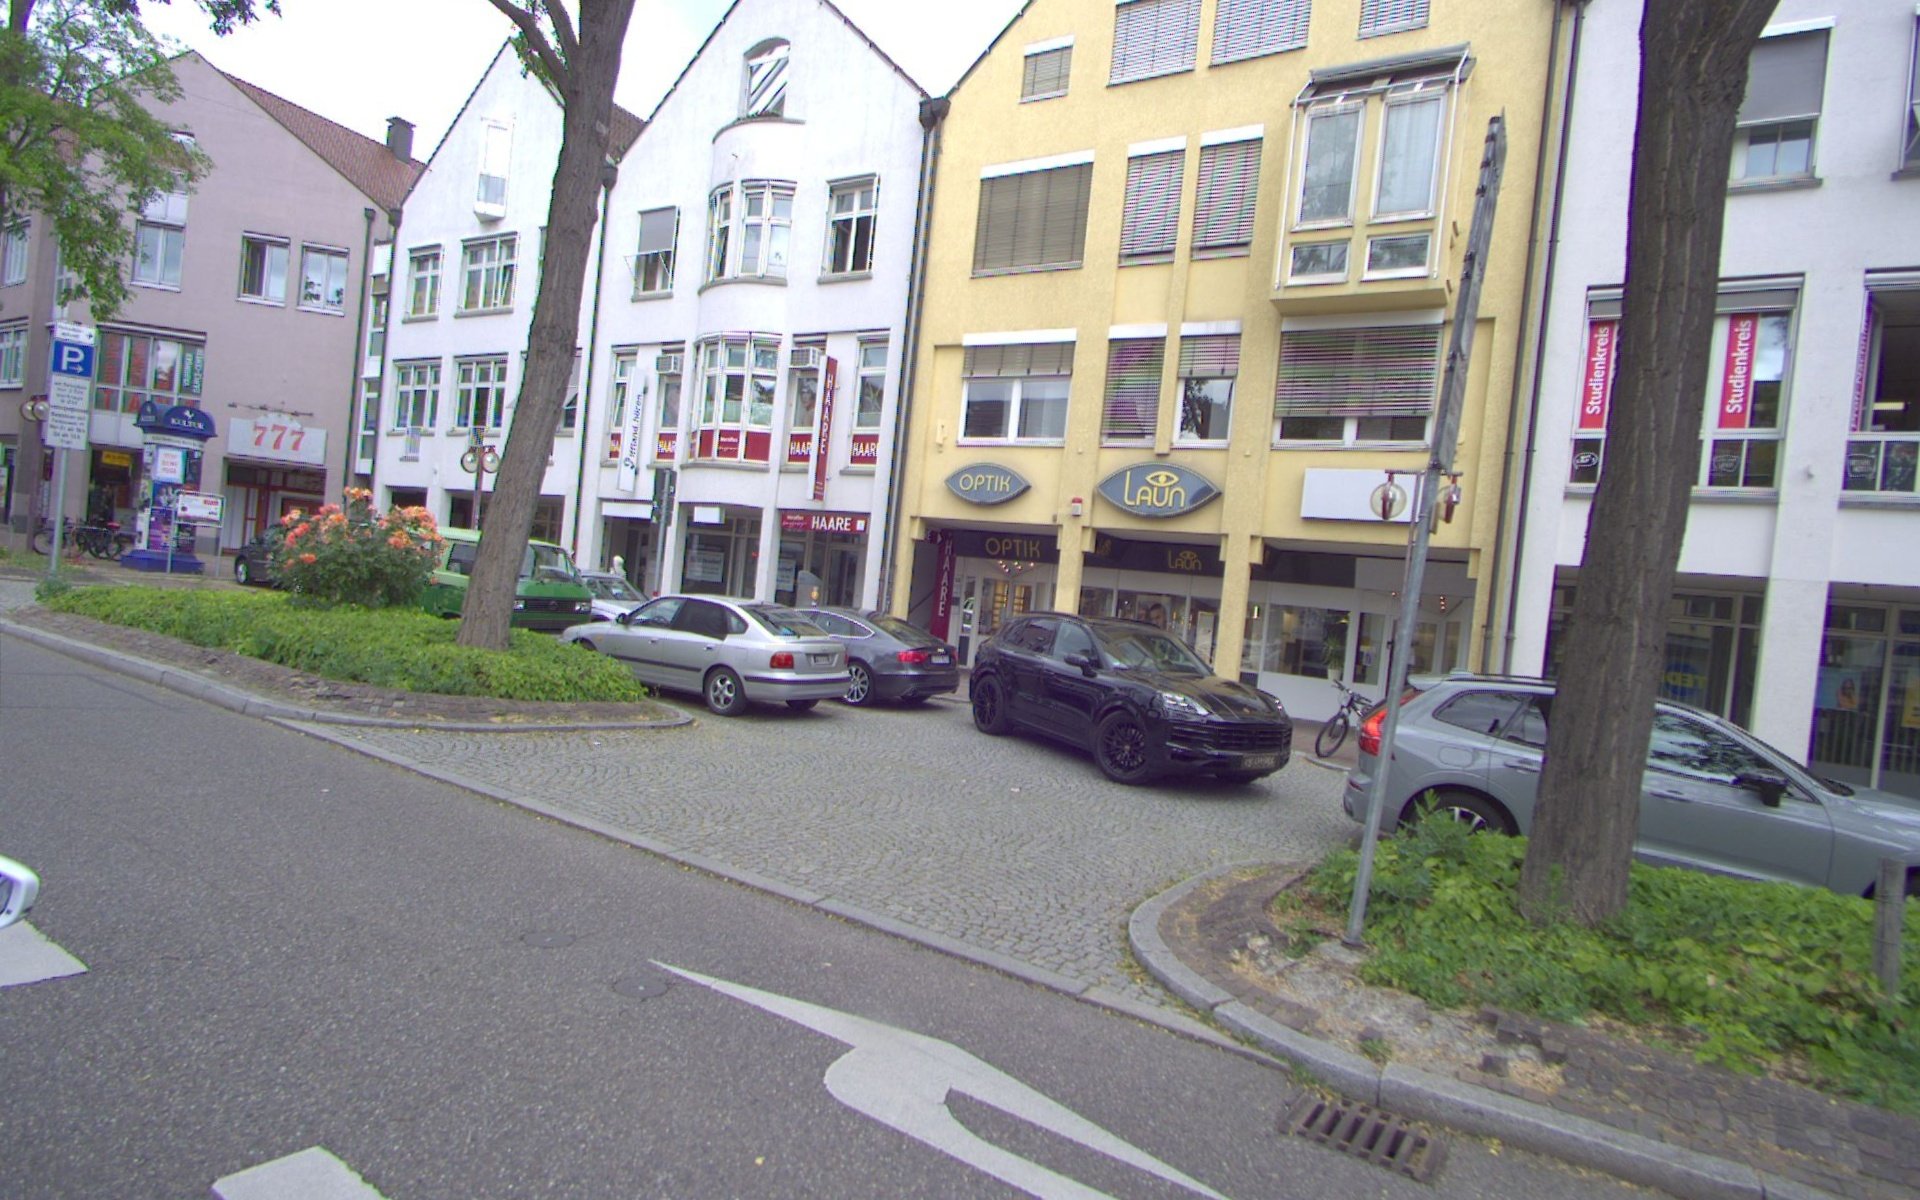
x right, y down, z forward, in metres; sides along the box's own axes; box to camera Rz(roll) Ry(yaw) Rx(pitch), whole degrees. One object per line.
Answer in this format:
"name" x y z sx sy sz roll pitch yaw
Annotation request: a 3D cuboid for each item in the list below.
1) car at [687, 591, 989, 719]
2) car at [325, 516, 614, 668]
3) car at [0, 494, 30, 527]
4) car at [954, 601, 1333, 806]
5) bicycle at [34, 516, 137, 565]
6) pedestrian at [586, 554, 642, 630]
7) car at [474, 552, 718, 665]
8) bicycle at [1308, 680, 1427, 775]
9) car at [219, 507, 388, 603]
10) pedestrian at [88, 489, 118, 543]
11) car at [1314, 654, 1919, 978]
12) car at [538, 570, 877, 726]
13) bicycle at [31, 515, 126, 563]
"car" -1.980 0.805 15.976 4.344 1.394 1.999 7 1 30
"car" -7.938 -0.161 16.169 4.528 1.900 1.882 7 1 30
"car" -45.729 -4.383 45.711 1.932 1.386 4.719 7 -1 33
"car" 1.921 1.081 12.141 1.838 1.692 4.627 6 1 -29
"bicycle" -22.644 -1.524 26.089 0.460 1.009 1.901 7 0 36
"pedestrian" -8.069 -0.182 23.441 0.805 1.681 0.789 7 3 32
"car" -6.758 0.125 18.556 4.320 1.562 1.797 7 1 30
"bicycle" 5.541 1.713 13.711 1.356 1.058 0.392 7 1 32
"car" -15.923 -1.103 24.389 3.898 1.855 1.639 7 1 28
"pedestrian" -31.409 -3.079 36.887 0.646 1.857 0.604 6 1 -36
"car" 5.508 1.544 8.003 4.682 1.615 1.997 7 0 29
"car" -3.477 0.591 13.624 4.344 1.468 1.765 7 0 30
"bicycle" -23.090 -1.581 26.384 0.440 1.009 1.769 7 0 36
